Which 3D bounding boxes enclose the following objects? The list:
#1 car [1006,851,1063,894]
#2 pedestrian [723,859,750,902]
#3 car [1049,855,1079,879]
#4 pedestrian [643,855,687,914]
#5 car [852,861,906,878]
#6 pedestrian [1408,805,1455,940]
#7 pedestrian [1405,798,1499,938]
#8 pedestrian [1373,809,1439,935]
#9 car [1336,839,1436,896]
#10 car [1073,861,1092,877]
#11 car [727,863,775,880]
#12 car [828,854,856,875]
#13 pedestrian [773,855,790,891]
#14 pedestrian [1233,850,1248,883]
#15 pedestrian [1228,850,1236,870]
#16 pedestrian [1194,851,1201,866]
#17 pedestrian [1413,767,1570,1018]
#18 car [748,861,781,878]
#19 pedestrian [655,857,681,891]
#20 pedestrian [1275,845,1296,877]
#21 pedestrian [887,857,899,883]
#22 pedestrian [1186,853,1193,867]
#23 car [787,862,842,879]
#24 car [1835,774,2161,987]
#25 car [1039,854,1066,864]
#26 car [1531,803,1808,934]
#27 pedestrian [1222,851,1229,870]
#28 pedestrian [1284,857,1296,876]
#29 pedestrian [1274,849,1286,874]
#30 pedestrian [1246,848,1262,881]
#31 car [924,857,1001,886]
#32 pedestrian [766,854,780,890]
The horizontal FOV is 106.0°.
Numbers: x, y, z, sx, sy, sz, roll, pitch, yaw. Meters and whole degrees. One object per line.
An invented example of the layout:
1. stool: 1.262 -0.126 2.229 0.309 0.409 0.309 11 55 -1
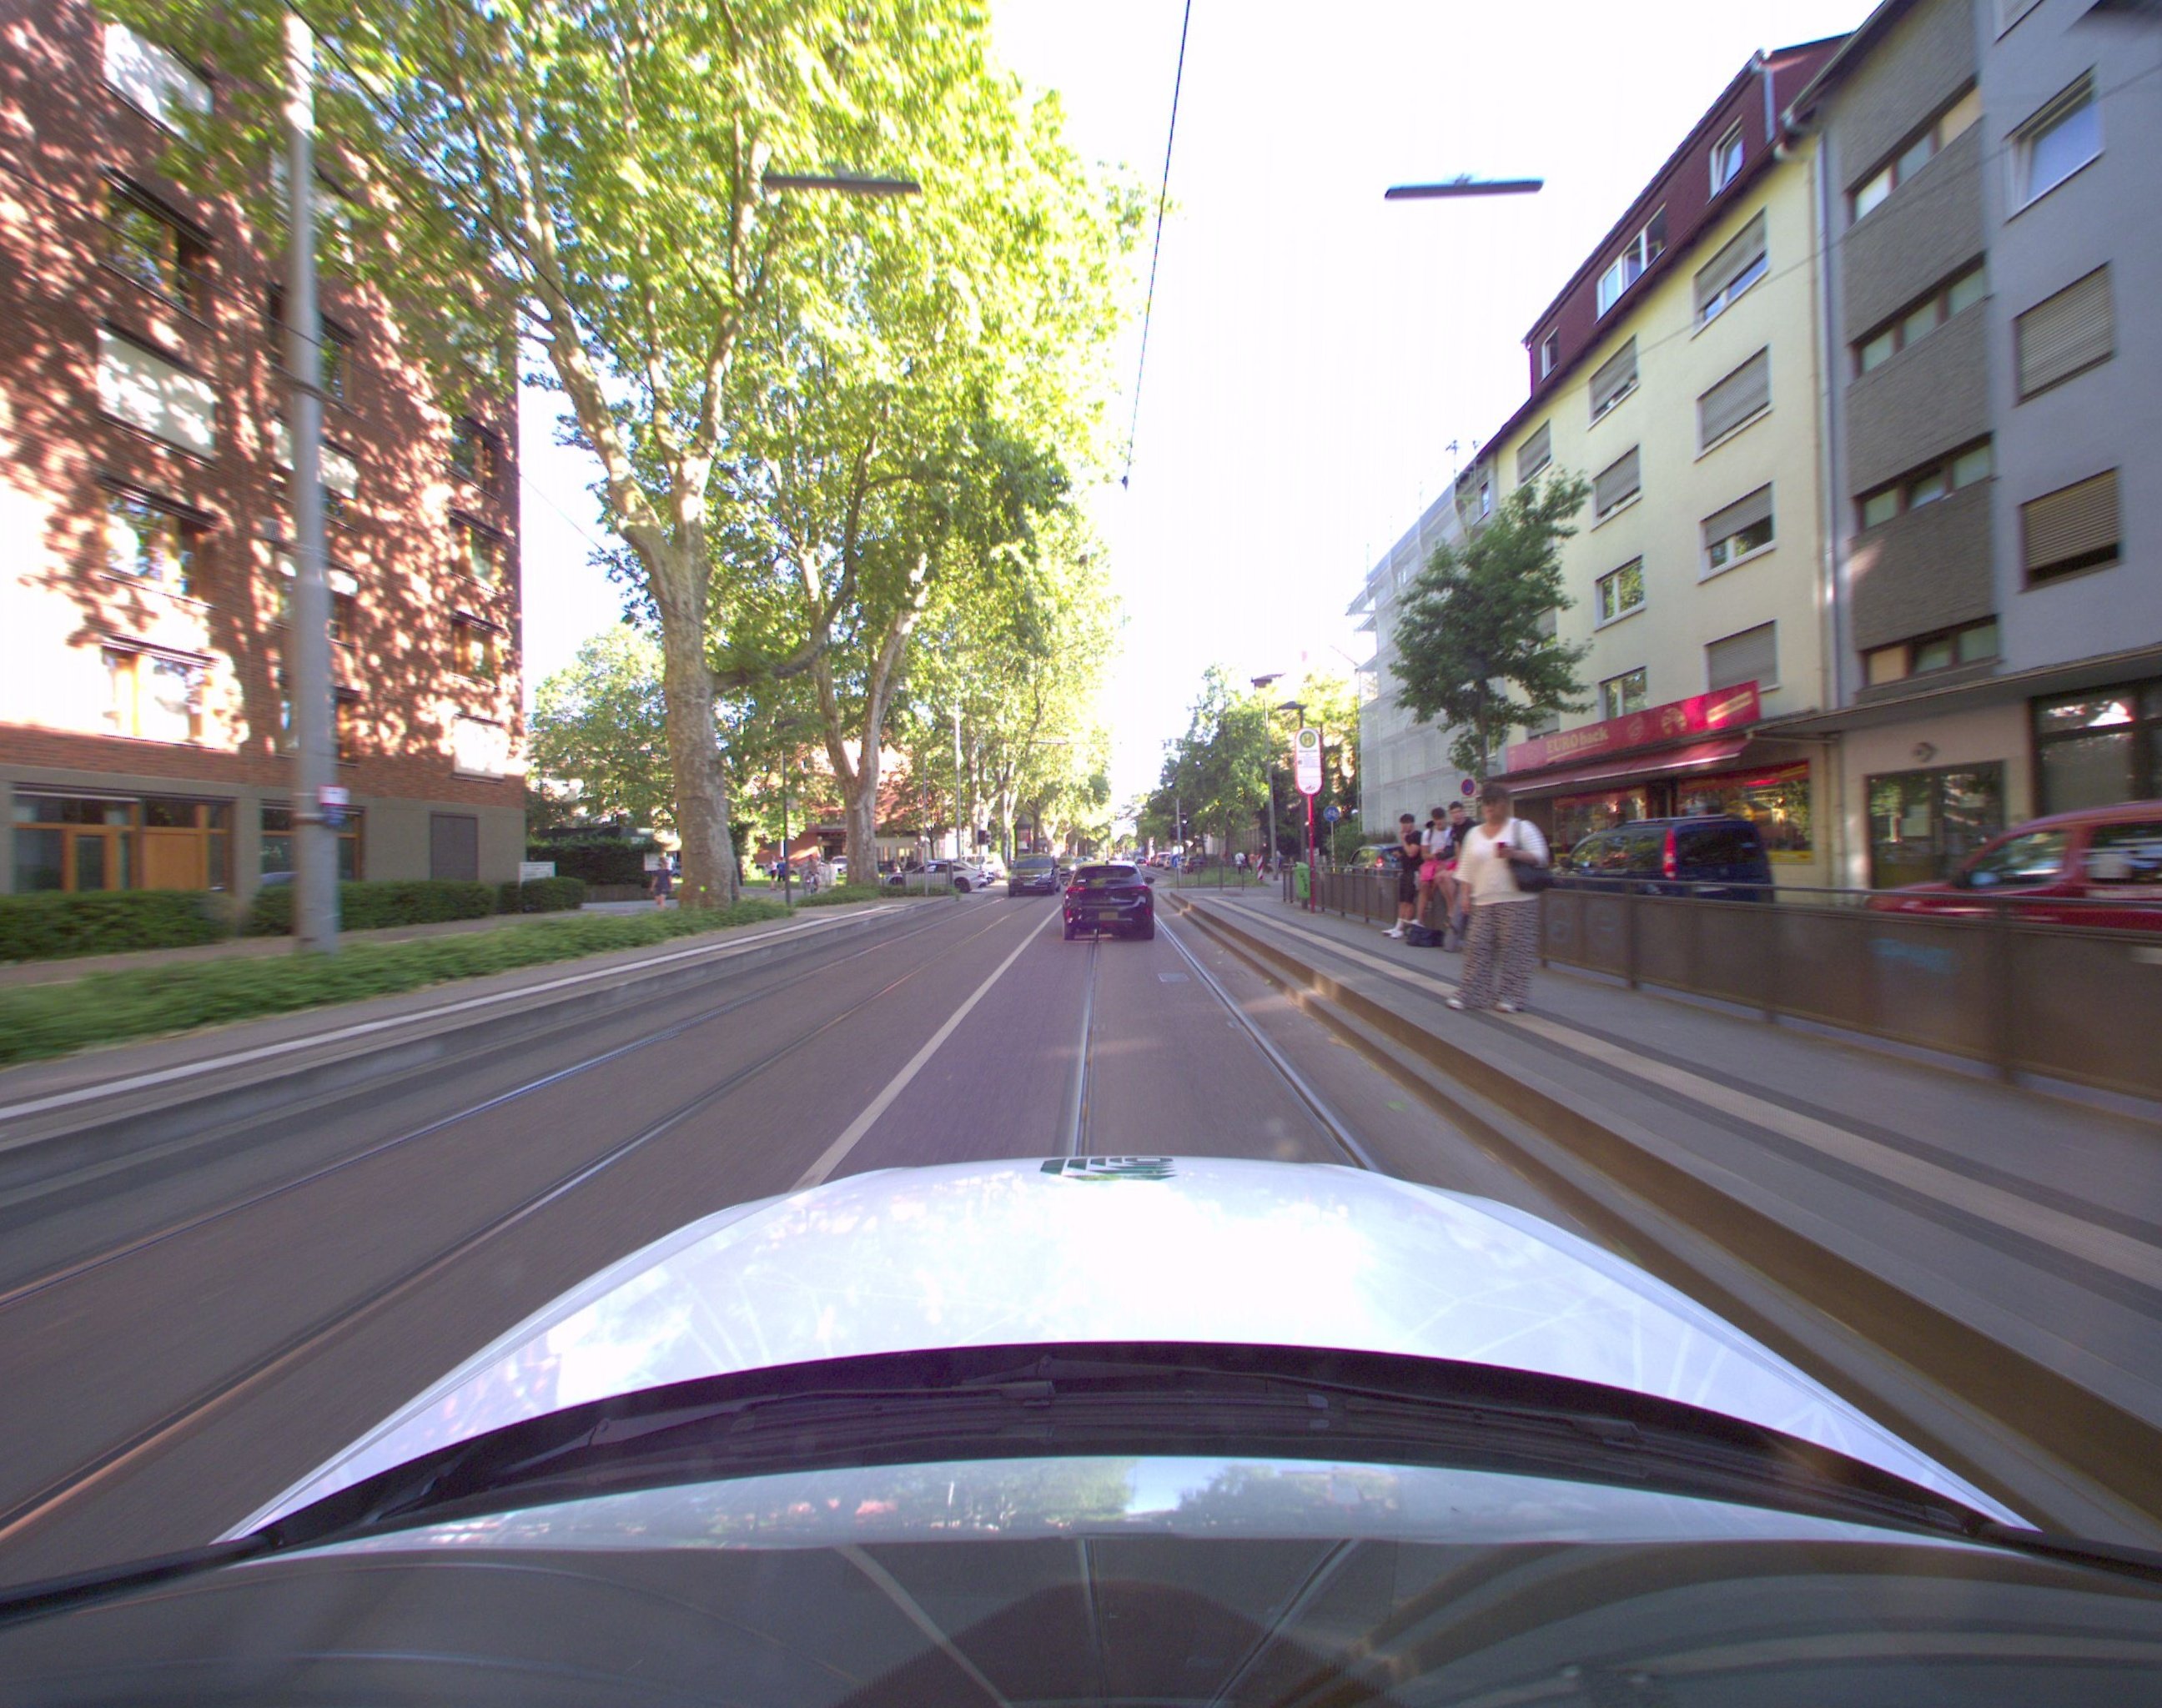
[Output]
1. car: -1.921 0.765 35.040 1.986 1.716 5.144 0 -1 2
2. pedestrian: -13.623 1.025 32.230 0.707 1.673 0.779 0 -1 1
3. car: -1.167 0.910 58.930 1.901 1.638 4.322 -2 -1 2
4. pedestrian: -12.034 0.863 23.564 0.735 1.672 0.969 0 -1 3
5. car: -18.413 1.441 74.352 4.518 1.489 1.857 0 -1 -5
6. pedestrian: 4.743 0.248 11.053 0.489 1.770 0.706 -1 -1 16
7. pedestrian: 4.671 0.170 10.300 0.843 1.701 0.692 0 -1 -5
8. pedestrian: 4.662 0.254 11.705 0.686 1.755 0.579 0 -1 -5
9. car: 9.823 0.388 26.634 1.755 1.621 4.445 -3 0 3
10. car: 0.193 1.638 89.150 1.809 1.568 4.118 -3 -1 2
11. car: -29.717 1.560 73.409 3.700 1.450 1.686 0 -1 -4
12. car: -23.775 1.059 81.203 1.992 2.003 4.907 0 -1 -7
13. pedestrian: -14.196 0.889 38.595 0.698 1.659 0.558 0 -1 -25
14. pedestrian: 8.878 0.705 45.221 0.721 1.793 0.856 -3 -1 12
15. pedestrian: 13.686 0.561 73.958 0.597 1.793 0.728 0 -1 -1
16. pedestrian: 13.716 0.500 95.672 0.723 1.709 0.856 0 -1 2
17. pedestrian: 3.055 0.264 6.095 0.642 1.713 0.828 0 -1 -33
18. car: -31.846 1.520 82.093 1.942 1.618 4.475 0 -1 -6
19. pedestrian: -21.103 1.016 41.634 0.835 1.737 0.921 -1 -1 38
20. pedestrian: 12.316 0.427 49.061 0.869 1.885 0.992 0 -1 -16
21. pedestrian: -13.390 1.155 57.967 0.640 1.809 0.753 0 -1 7
22. pedestrian: 12.763 0.689 95.729 0.723 1.693 0.957 0 -1 2
23. car: -24.055 1.490 73.664 4.463 1.450 1.820 0 -1 -7
24. car: 9.778 0.220 7.575 1.683 1.755 4.173 0 -1 0
25. car: -4.576 0.803 131.984 4.287 1.607 1.925 -1 0 -1
26. car: 10.011 0.222 14.364 1.985 1.896 4.198 -2 0 3
27. pedestrian: 13.282 0.614 74.860 0.594 1.793 0.731 -1 -1 14
28. pedestrian: 12.573 0.751 49.005 0.669 1.118 0.662 0 -1 12
29. pedestrian: 13.940 0.502 57.007 0.618 1.726 0.552 0 -1 -11
30. pedestrian: 9.636 0.555 45.333 0.721 1.793 0.971 -3 -1 12
31. car: -6.776 0.993 46.776 4.126 1.646 1.902 0 -1 0
32. pedestrian: -14.941 0.866 39.468 0.535 1.705 0.586 0 -1 -30
